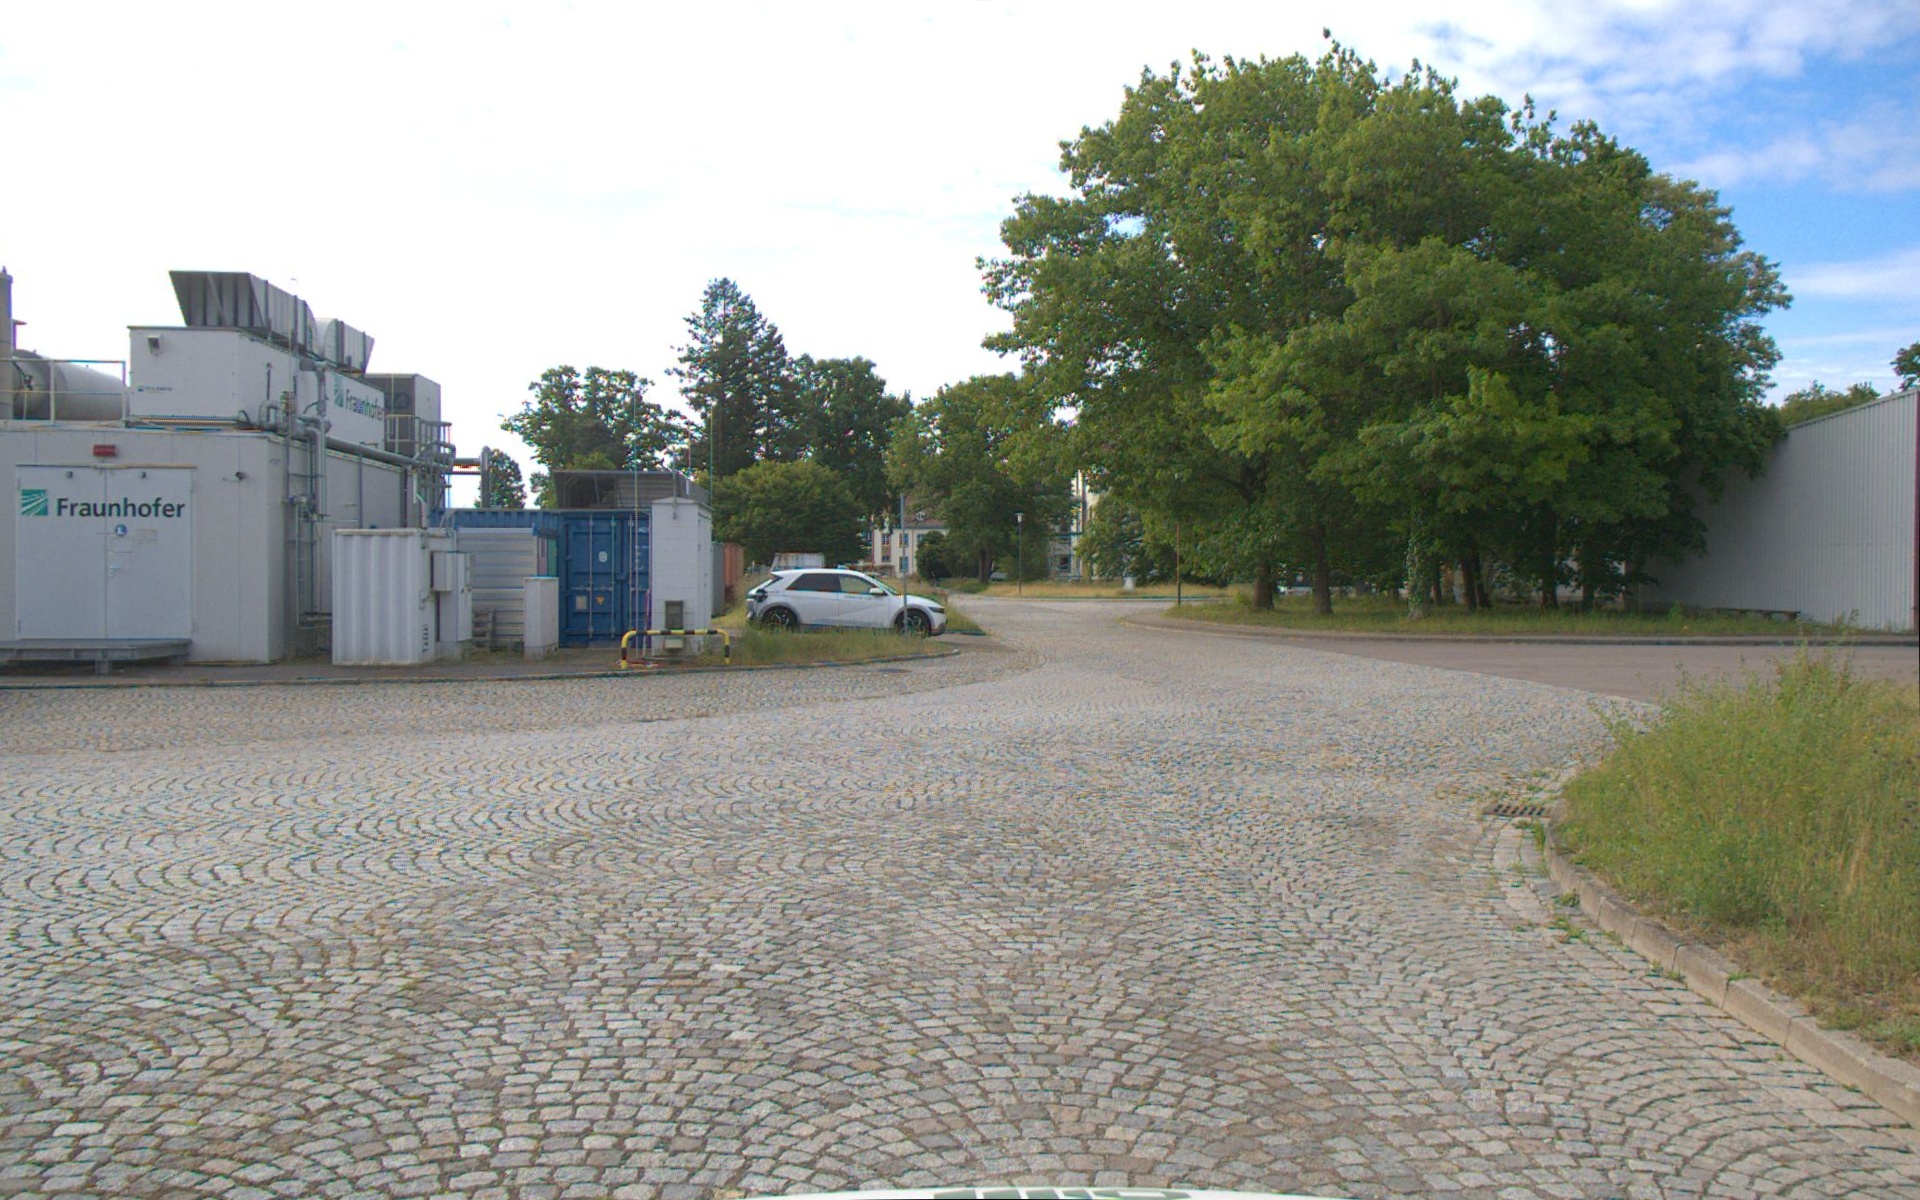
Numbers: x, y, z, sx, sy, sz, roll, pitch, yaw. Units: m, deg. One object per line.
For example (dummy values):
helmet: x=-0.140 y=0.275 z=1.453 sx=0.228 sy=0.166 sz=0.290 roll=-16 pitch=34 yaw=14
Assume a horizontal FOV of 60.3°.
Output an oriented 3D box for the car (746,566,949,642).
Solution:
car: x=-2.509 y=0.070 z=37.358 sx=4.443 sy=1.627 sz=1.999 roll=0 pitch=1 yaw=-2

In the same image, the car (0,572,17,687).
car: x=-13.195 y=0.471 z=19.328 sx=1.996 sy=1.478 sz=4.526 roll=0 pitch=2 yaw=-5

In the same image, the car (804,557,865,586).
car: x=-10.482 y=-2.400 z=138.528 sx=5.070 sy=2.378 sz=1.998 roll=0 pitch=1 yaw=-5

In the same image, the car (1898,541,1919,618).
car: x=27.032 y=-0.534 z=42.734 sx=2.198 sy=2.049 sz=5.330 roll=0 pitch=1 yaw=-6
